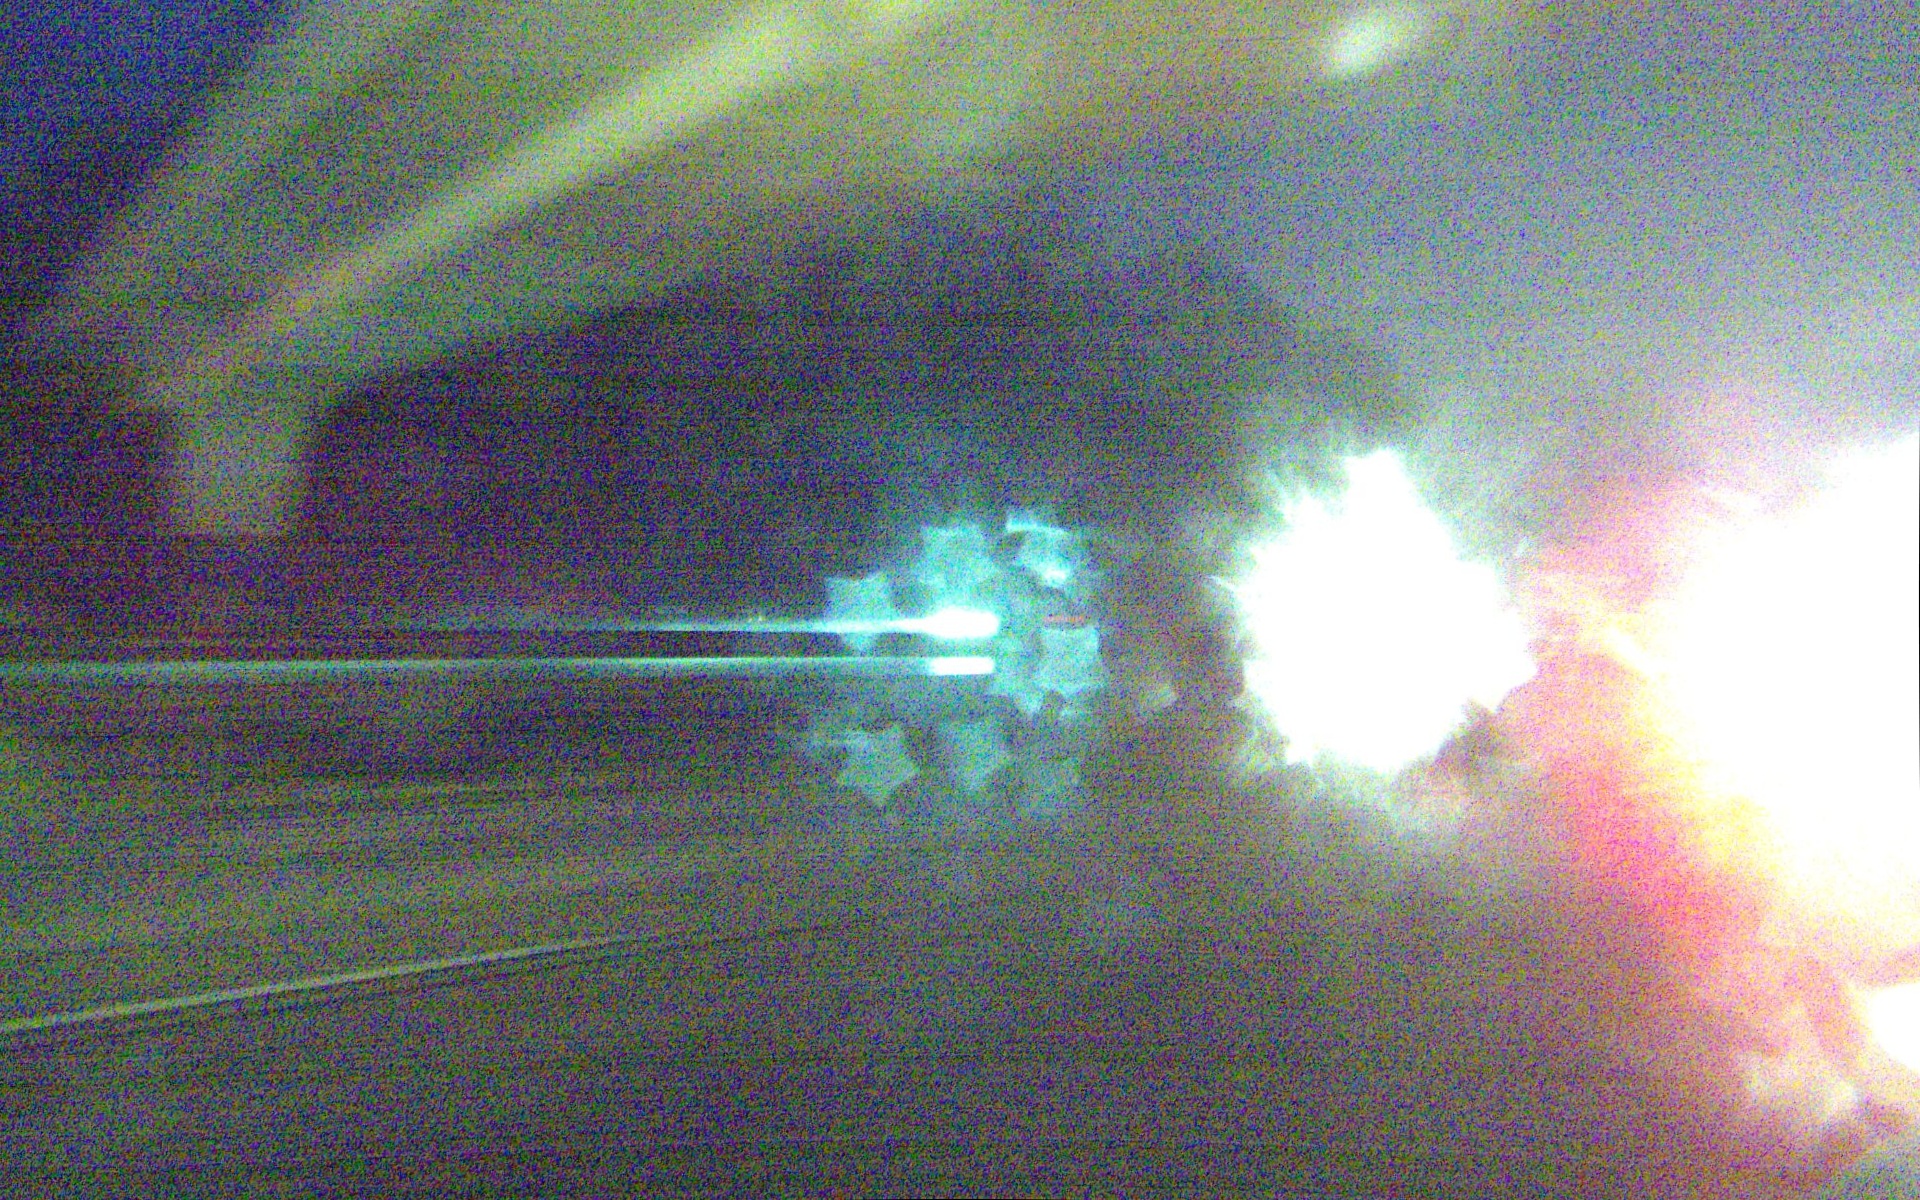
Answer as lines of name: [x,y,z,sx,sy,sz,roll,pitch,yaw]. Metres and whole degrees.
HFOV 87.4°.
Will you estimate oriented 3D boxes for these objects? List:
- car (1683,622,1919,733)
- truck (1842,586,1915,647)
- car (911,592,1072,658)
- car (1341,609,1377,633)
car: [14.046,1.199,16.613,4.863,1.537,1.757,2,0,-34]
truck: [55.771,1.025,60.974,4.602,3.503,2.583,2,0,-39]
car: [0.901,0.711,28.104,4.153,1.665,1.886,2,0,-34]
car: [30.387,1.562,76.592,1.799,1.736,4.003,2,0,10]
